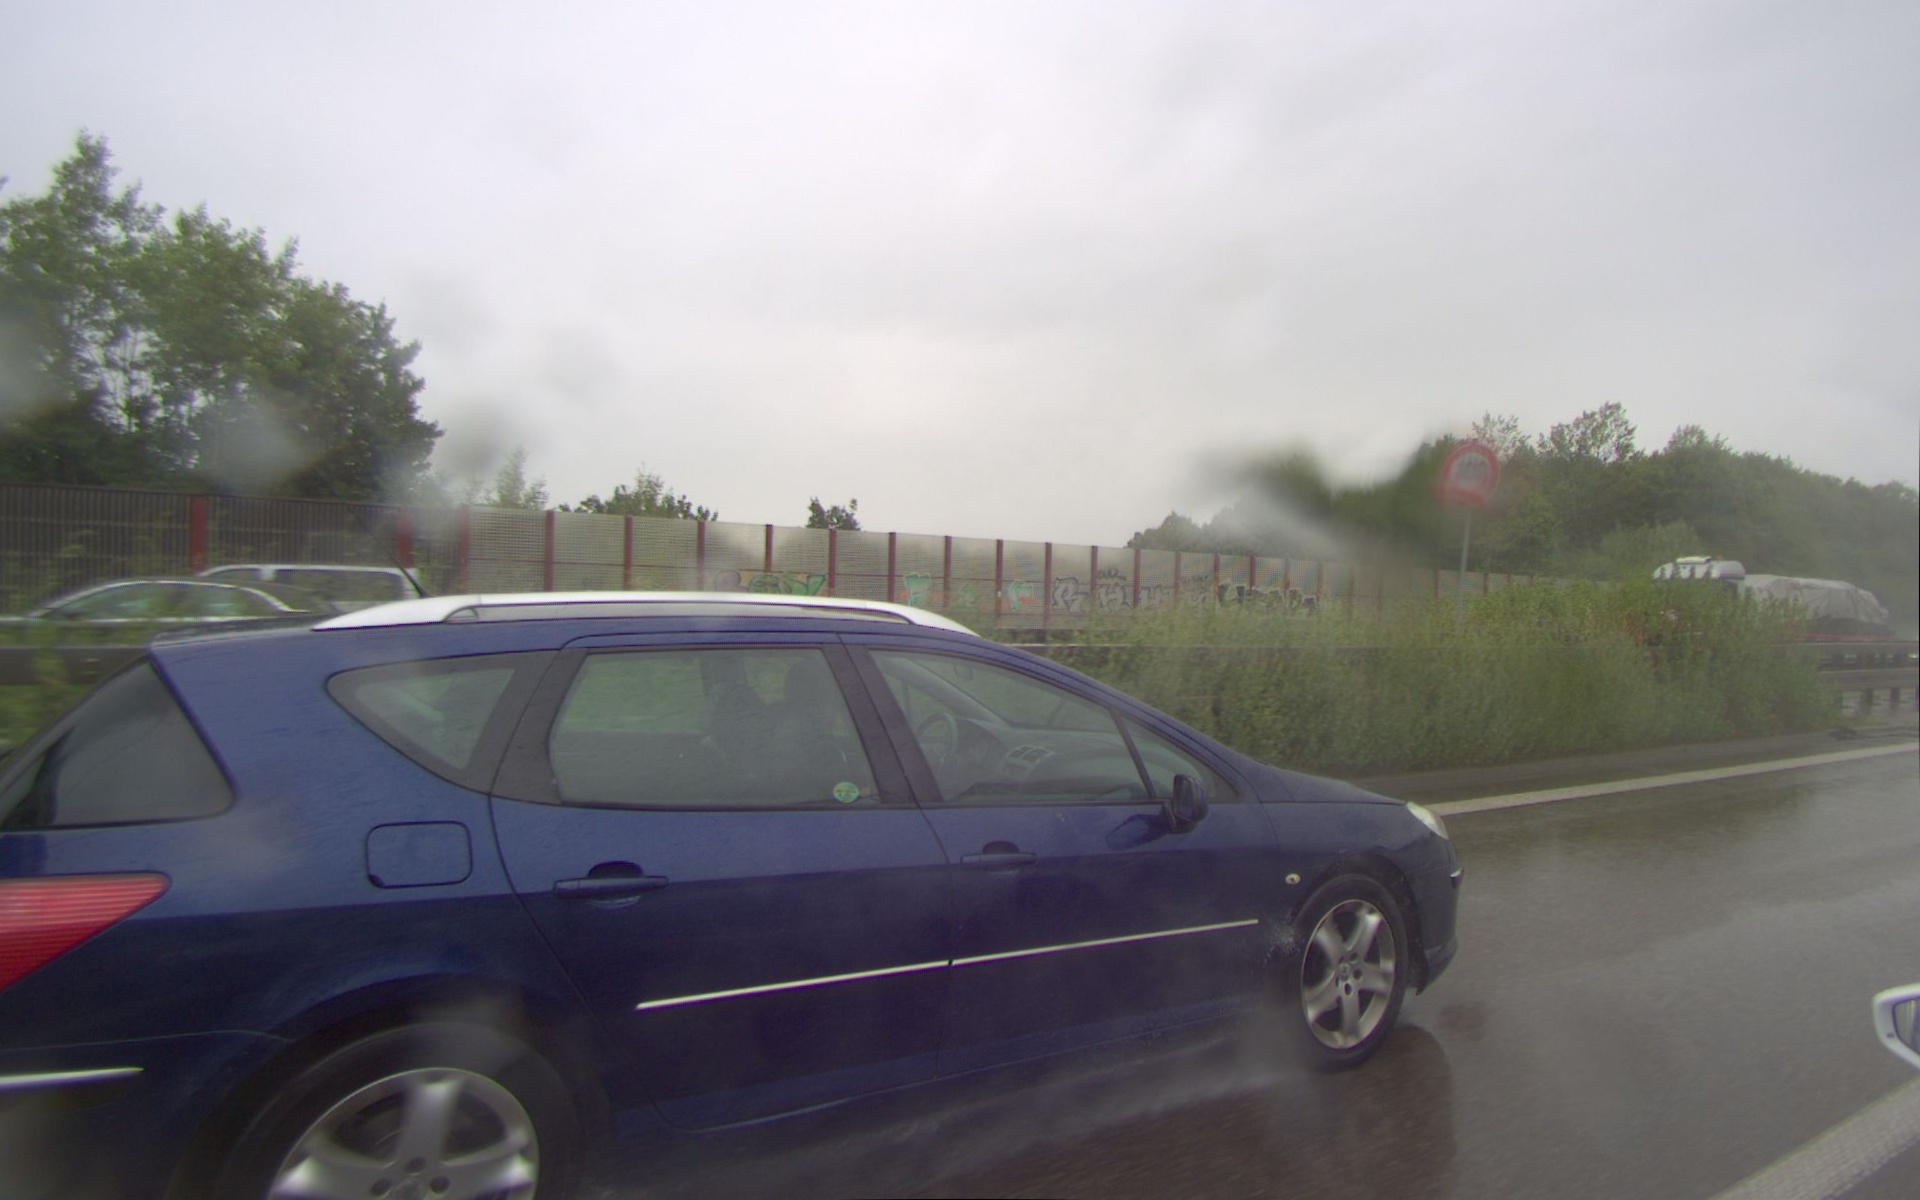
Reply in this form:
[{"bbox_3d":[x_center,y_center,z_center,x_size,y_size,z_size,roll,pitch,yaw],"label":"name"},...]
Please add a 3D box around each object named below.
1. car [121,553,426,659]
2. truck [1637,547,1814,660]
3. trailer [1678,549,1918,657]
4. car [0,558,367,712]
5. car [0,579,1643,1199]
[{"bbox_3d":[-11.848,0.140,17.732,4.214,1.662,1.984,1,0,-30],"label":"car"},{"bbox_3d":[26.804,0.146,35.152,5.932,3.647,2.966,1,0,-32],"label":"truck"},{"bbox_3d":[32.654,0.191,38.805,13.419,3.661,3.055,1,0,-32],"label":"trailer"},{"bbox_3d":[-9.659,0.405,12.415,3.953,1.662,1.984,1,0,-30],"label":"car"},{"bbox_3d":[-0.059,0.745,3.471,5.098,1.505,2.044,1,0,-31],"label":"car"}]
